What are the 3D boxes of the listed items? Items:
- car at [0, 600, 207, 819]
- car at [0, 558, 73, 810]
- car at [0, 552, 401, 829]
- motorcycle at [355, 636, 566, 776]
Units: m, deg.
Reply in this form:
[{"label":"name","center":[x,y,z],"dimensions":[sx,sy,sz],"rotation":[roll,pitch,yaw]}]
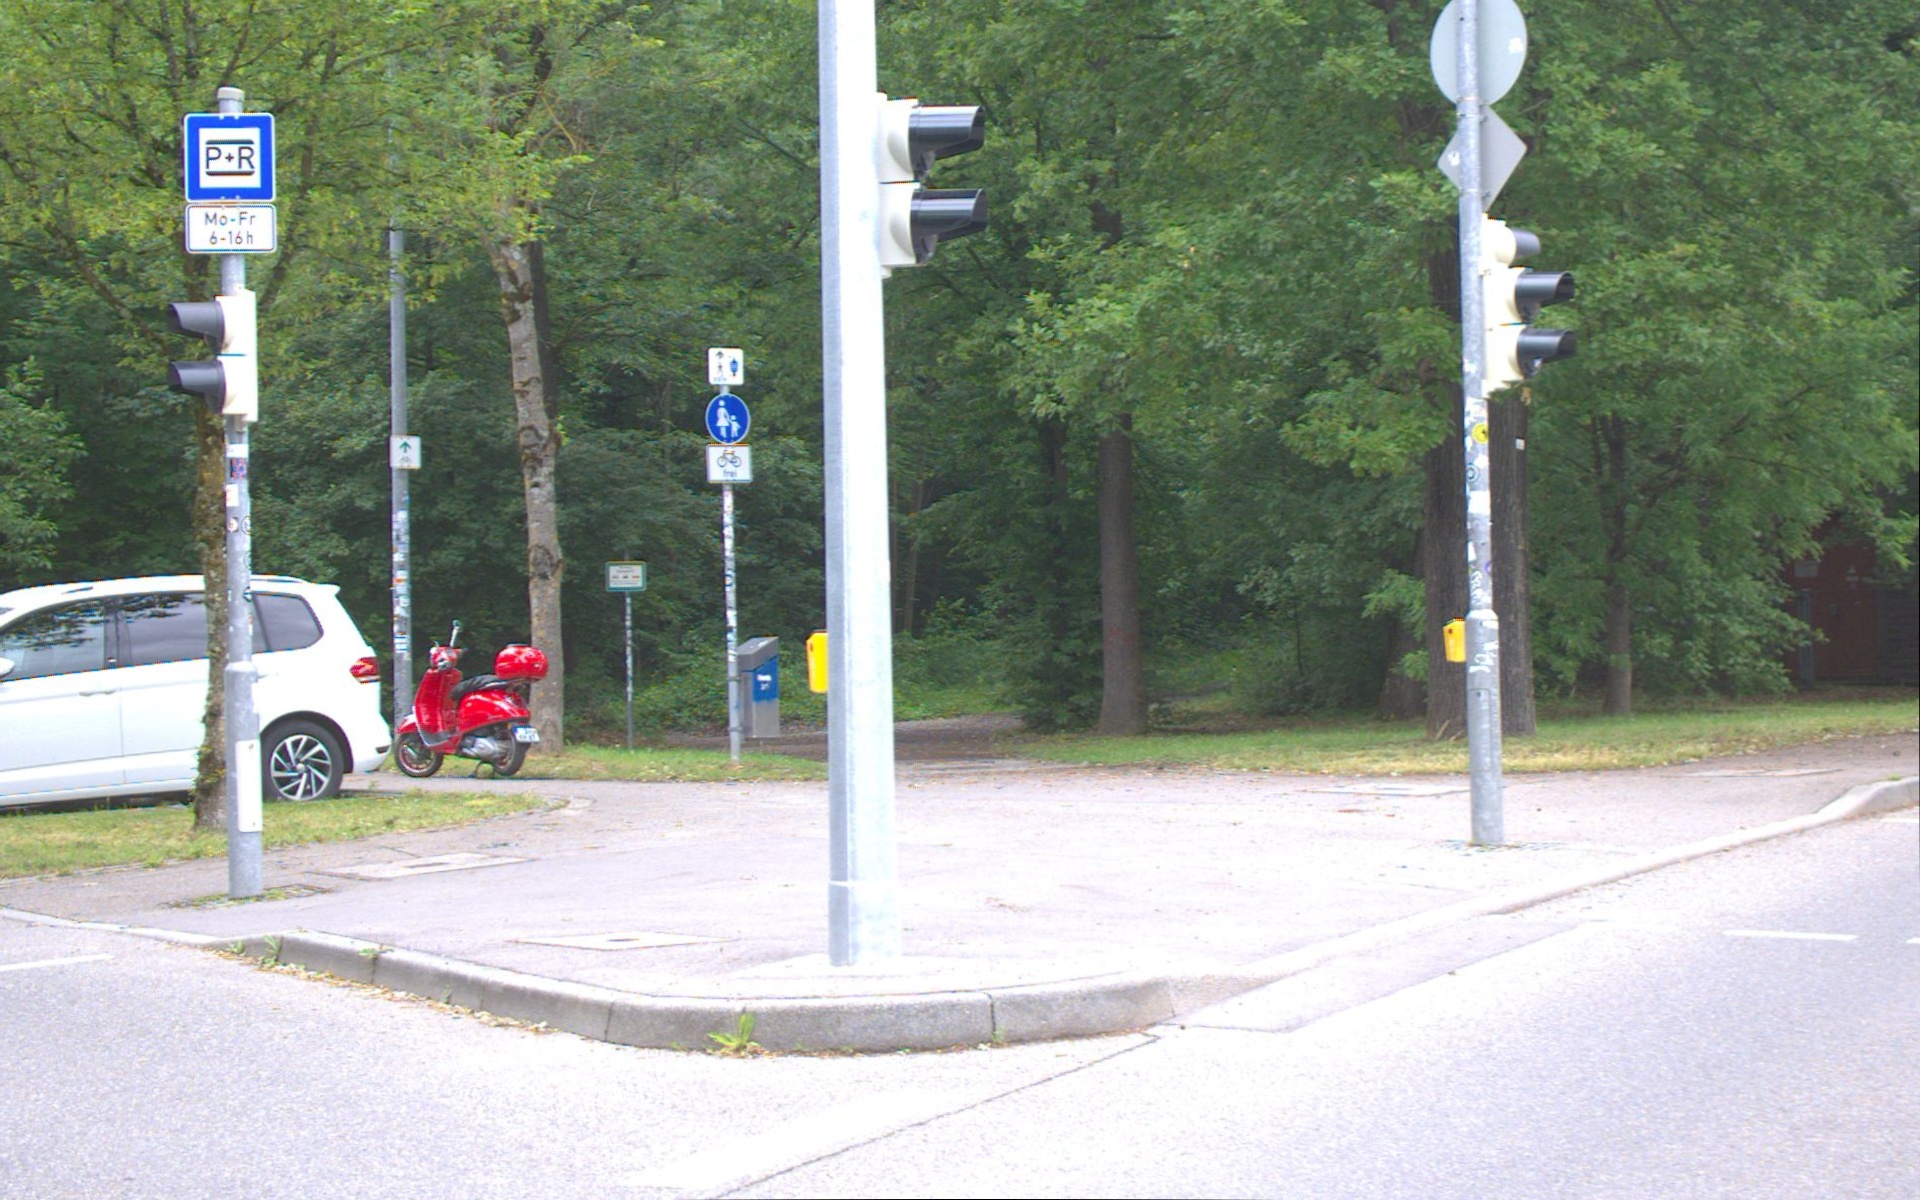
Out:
[{"label":"car","center":[-7.790,0.809,25.144],"dimensions":[3.997,1.550,1.946],"rotation":[-1,0,-34]},{"label":"car","center":[-9.628,0.675,27.125],"dimensions":[4.650,2.014,2.082],"rotation":[0,0,-41]},{"label":"car","center":[-6.333,0.633,23.137],"dimensions":[4.521,1.687,2.165],"rotation":[-2,-1,-35]},{"label":"motorcycle","center":[-4.353,0.910,29.898],"dimensions":[2.010,1.156,0.675],"rotation":[-1,0,43]}]
